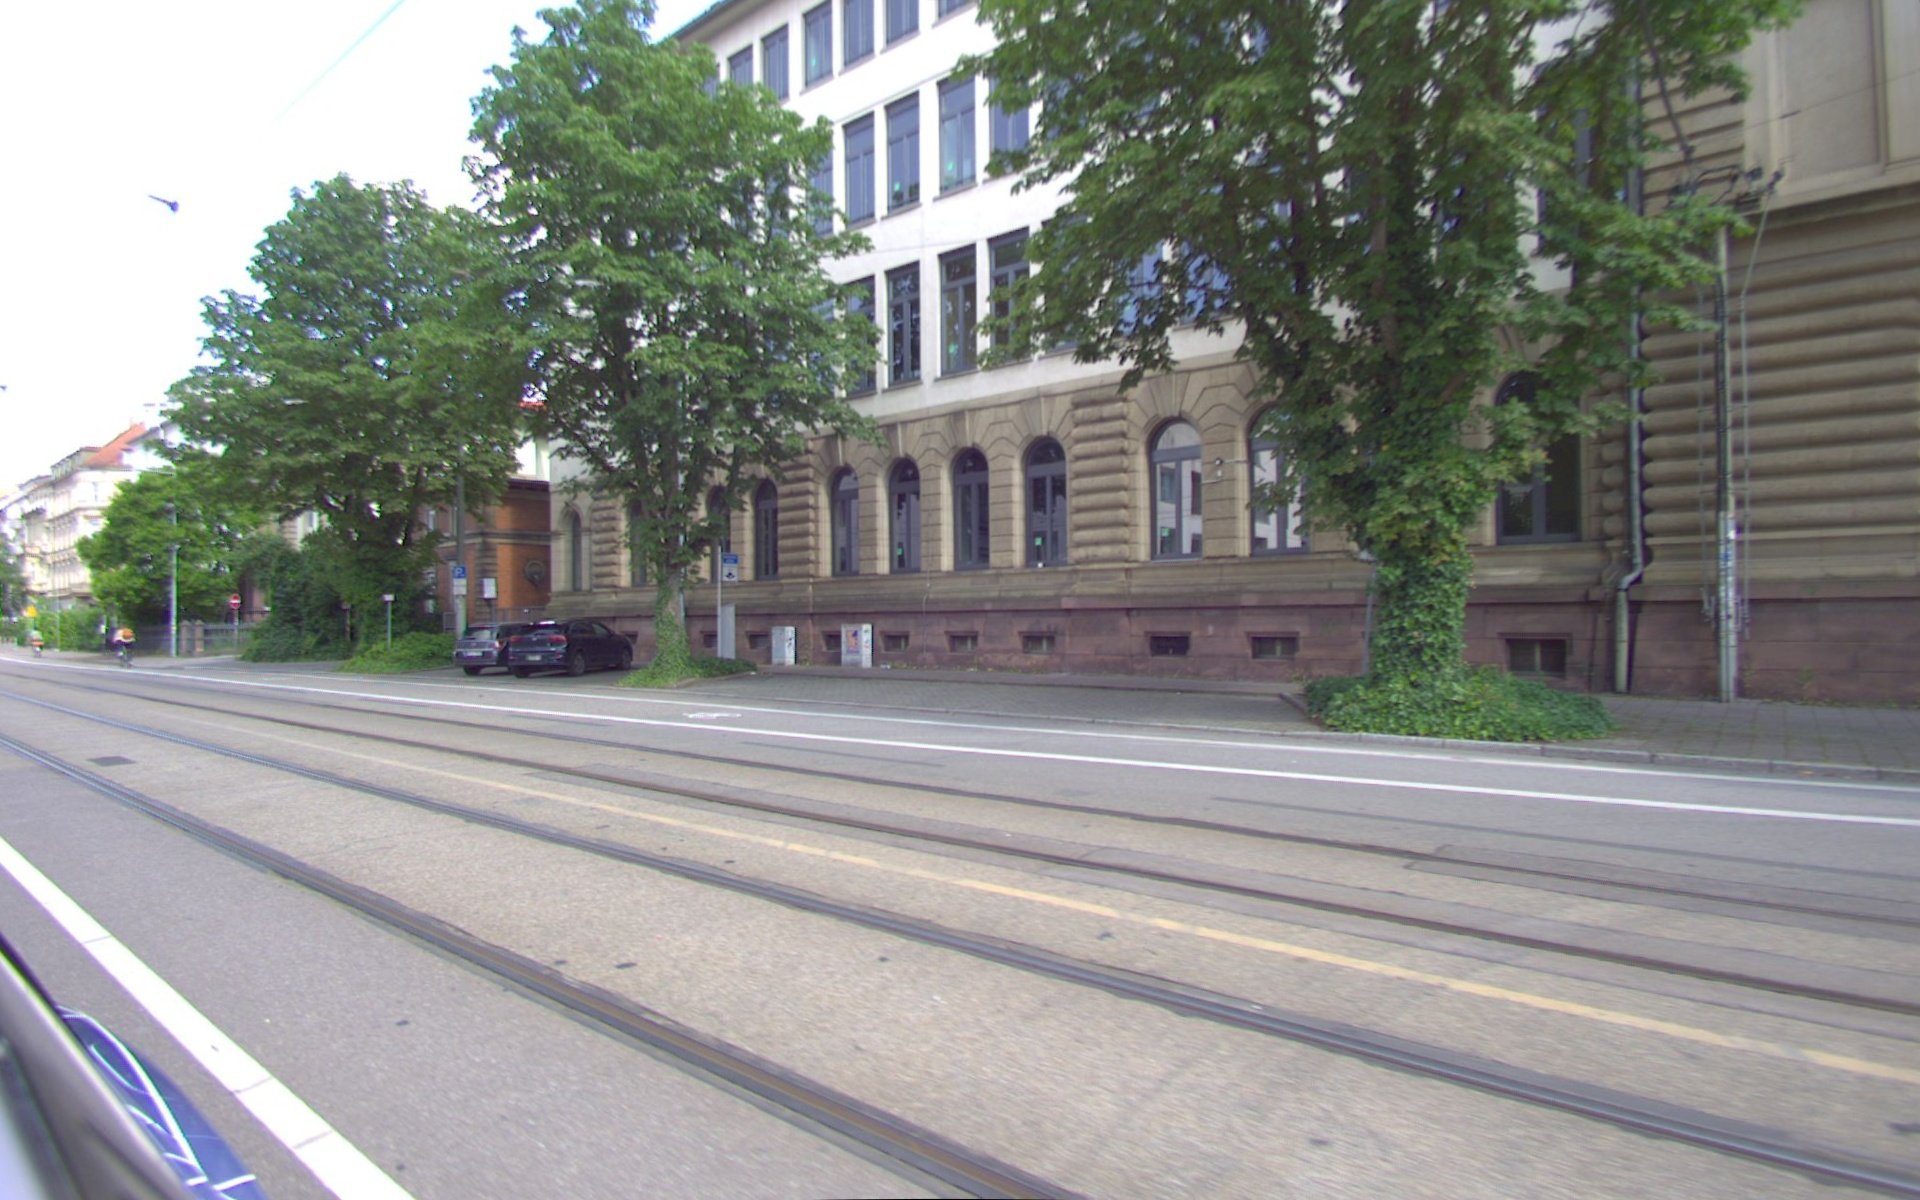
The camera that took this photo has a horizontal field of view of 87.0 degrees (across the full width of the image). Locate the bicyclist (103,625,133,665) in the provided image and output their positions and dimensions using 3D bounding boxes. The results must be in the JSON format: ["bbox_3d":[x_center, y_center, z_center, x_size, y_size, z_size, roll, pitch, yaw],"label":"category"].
[{"bbox_3d":[-32.480,1.741,39.035,0.866,1.531,0.684,-2,-3,36],"label":"bicyclist"}]

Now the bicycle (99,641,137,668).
[{"bbox_3d":[-32.458,2.080,39.007,1.816,1.025,0.692,-2,-3,36],"label":"bicycle"}]

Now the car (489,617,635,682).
[{"bbox_3d":[-10.842,1.300,27.921,1.905,1.562,4.231,-2,0,8],"label":"car"}]

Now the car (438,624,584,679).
[{"bbox_3d":[-13.008,1.453,29.615,1.775,1.458,4.225,-1,-1,12],"label":"car"}]

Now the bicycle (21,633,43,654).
[{"bbox_3d":[-50.692,2.363,55.255,2.022,1.105,0.596,-3,-8,42],"label":"bicycle"}]

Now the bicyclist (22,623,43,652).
[{"bbox_3d":[-50.650,2.053,55.266,0.882,1.504,0.593,-3,-8,42],"label":"bicyclist"}]

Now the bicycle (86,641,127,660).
[{"bbox_3d":[-45.704,2.706,54.157,2.986,0.915,1.131,-2,1,40],"label":"bicycle"}]
